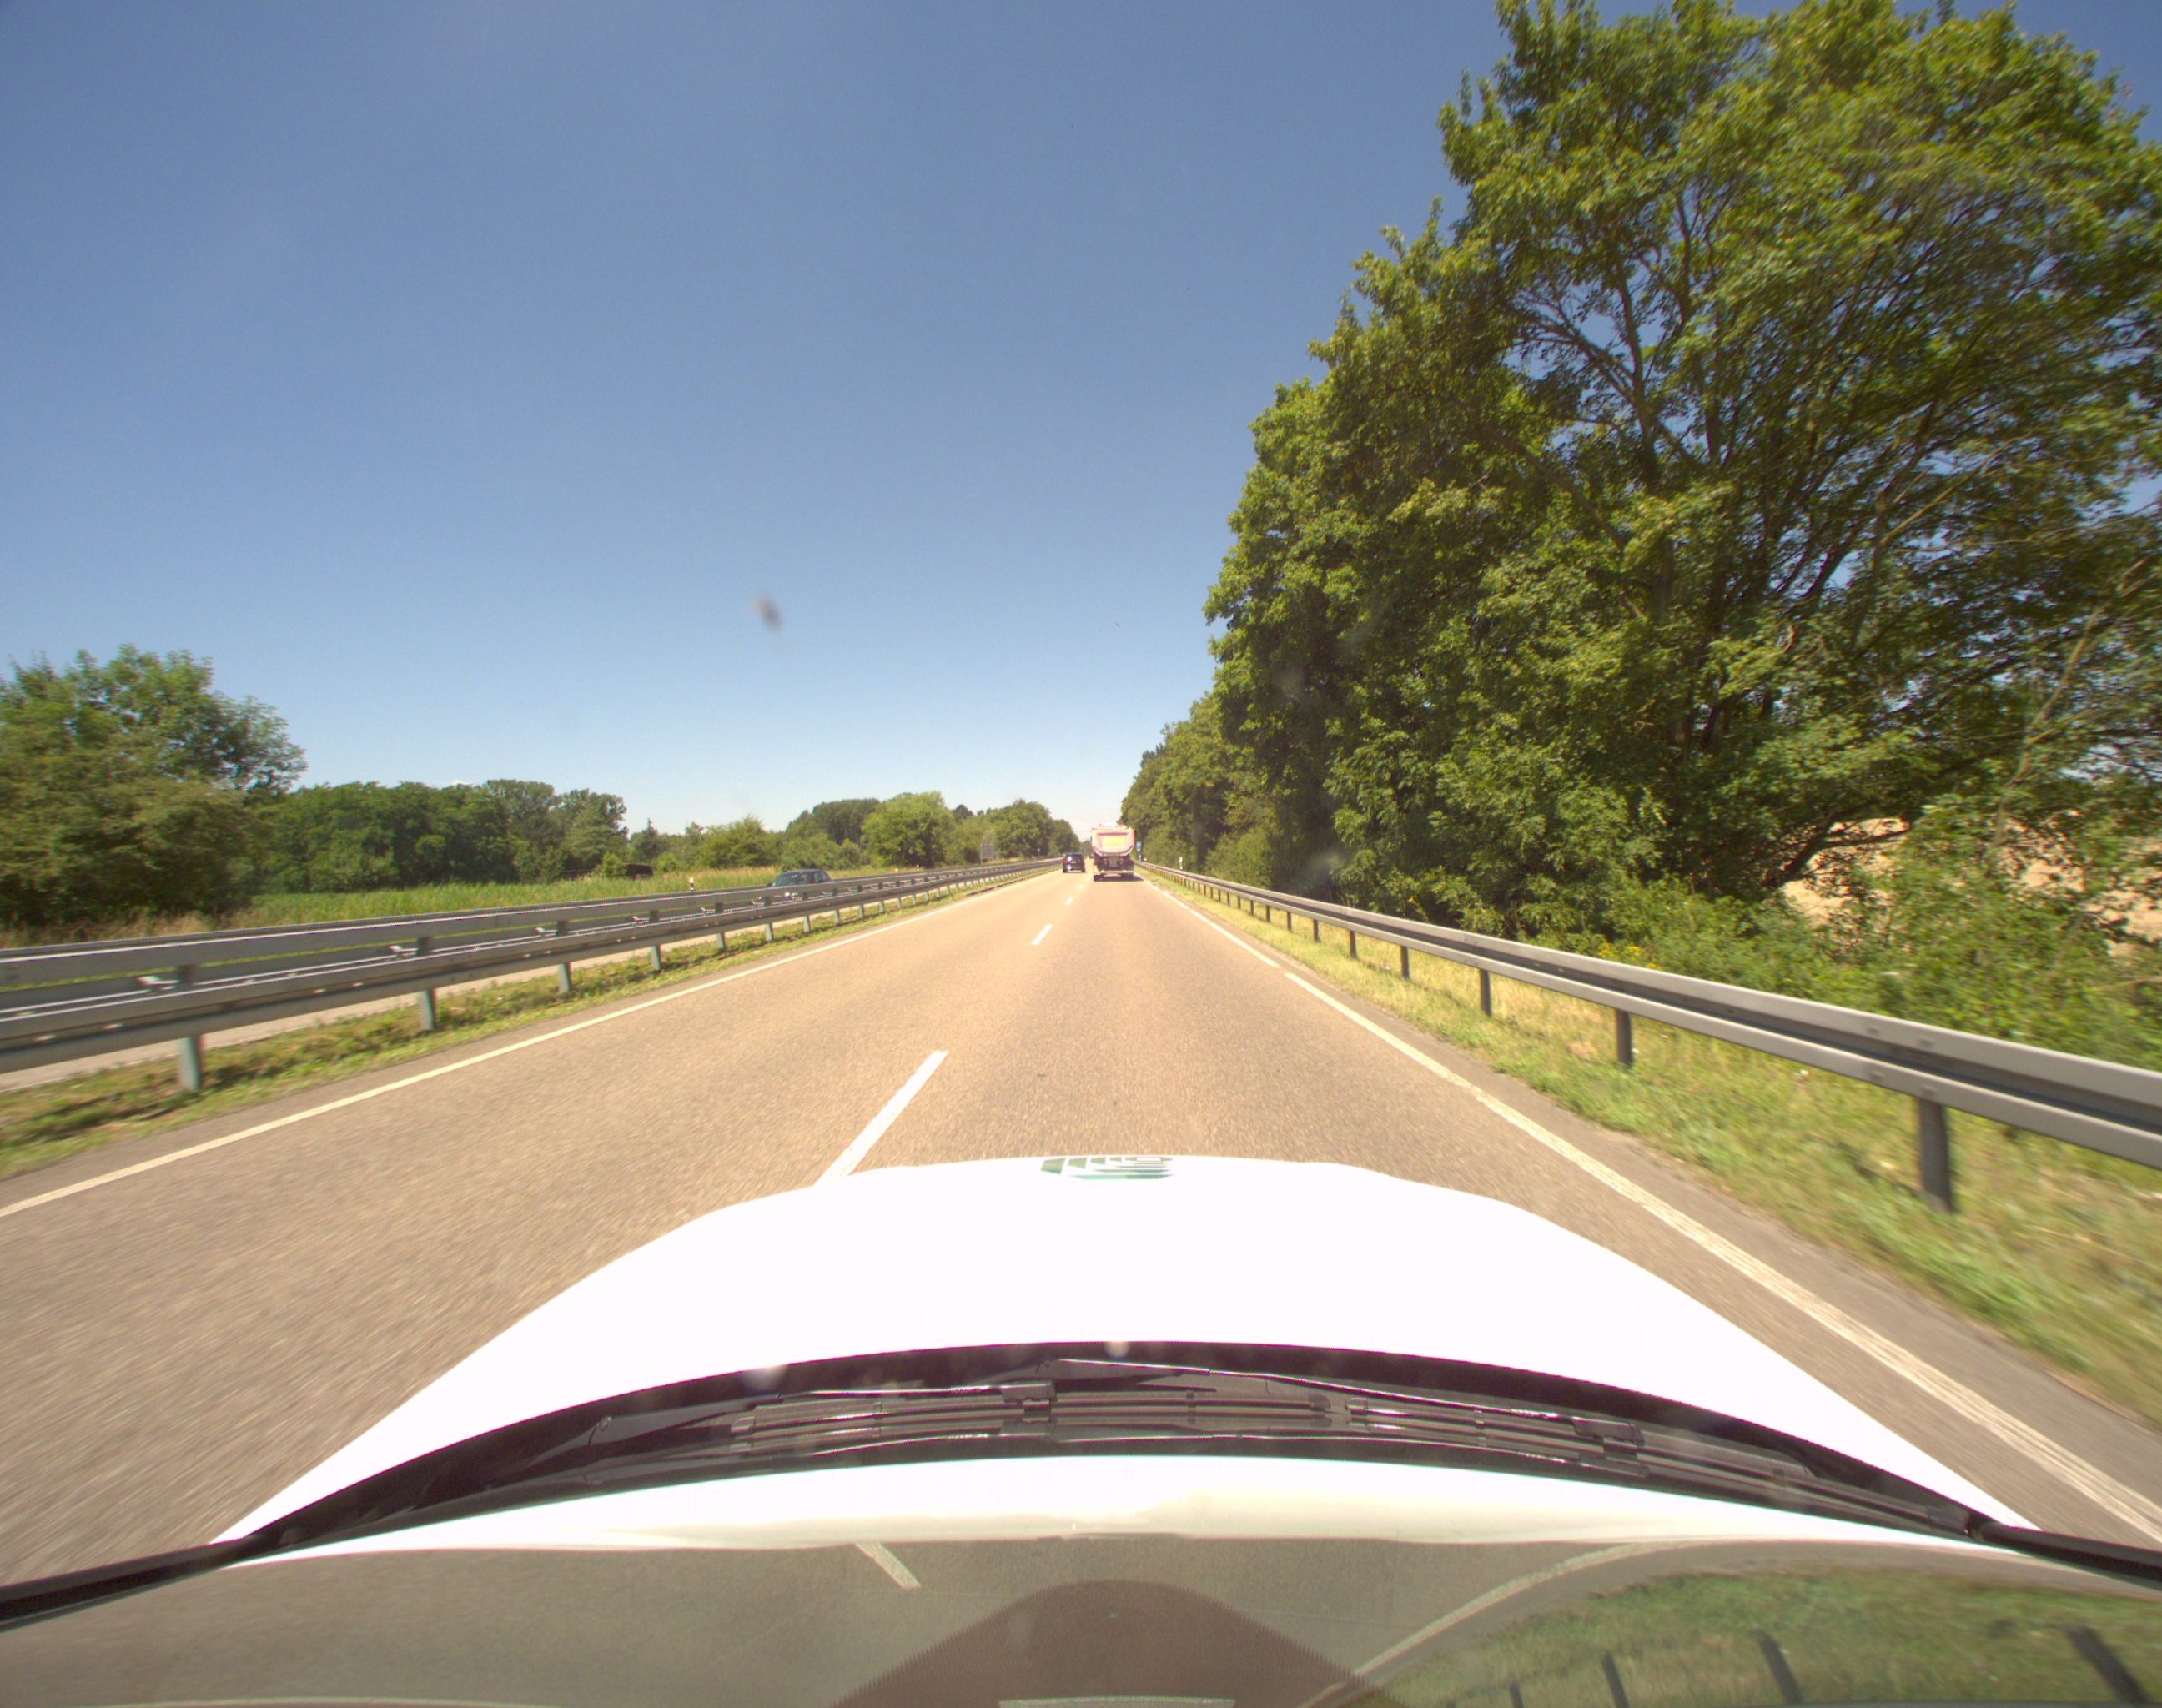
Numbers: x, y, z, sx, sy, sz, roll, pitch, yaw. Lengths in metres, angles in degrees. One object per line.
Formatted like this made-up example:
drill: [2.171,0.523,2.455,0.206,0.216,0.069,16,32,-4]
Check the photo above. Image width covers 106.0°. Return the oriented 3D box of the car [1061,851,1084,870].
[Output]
car: [-0.736,0.597,73.069,1.851,1.671,4.000,-1,-1,1]

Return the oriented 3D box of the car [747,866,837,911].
car: [-9.544,1.109,27.187,1.622,1.332,3.537,-1,0,2]

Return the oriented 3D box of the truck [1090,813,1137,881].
truck: [2.019,-0.432,53.825,2.710,3.930,12.372,-1,0,1]

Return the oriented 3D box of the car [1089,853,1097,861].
car: [2.712,0.657,186.299,1.851,1.718,4.000,-1,-1,1]
